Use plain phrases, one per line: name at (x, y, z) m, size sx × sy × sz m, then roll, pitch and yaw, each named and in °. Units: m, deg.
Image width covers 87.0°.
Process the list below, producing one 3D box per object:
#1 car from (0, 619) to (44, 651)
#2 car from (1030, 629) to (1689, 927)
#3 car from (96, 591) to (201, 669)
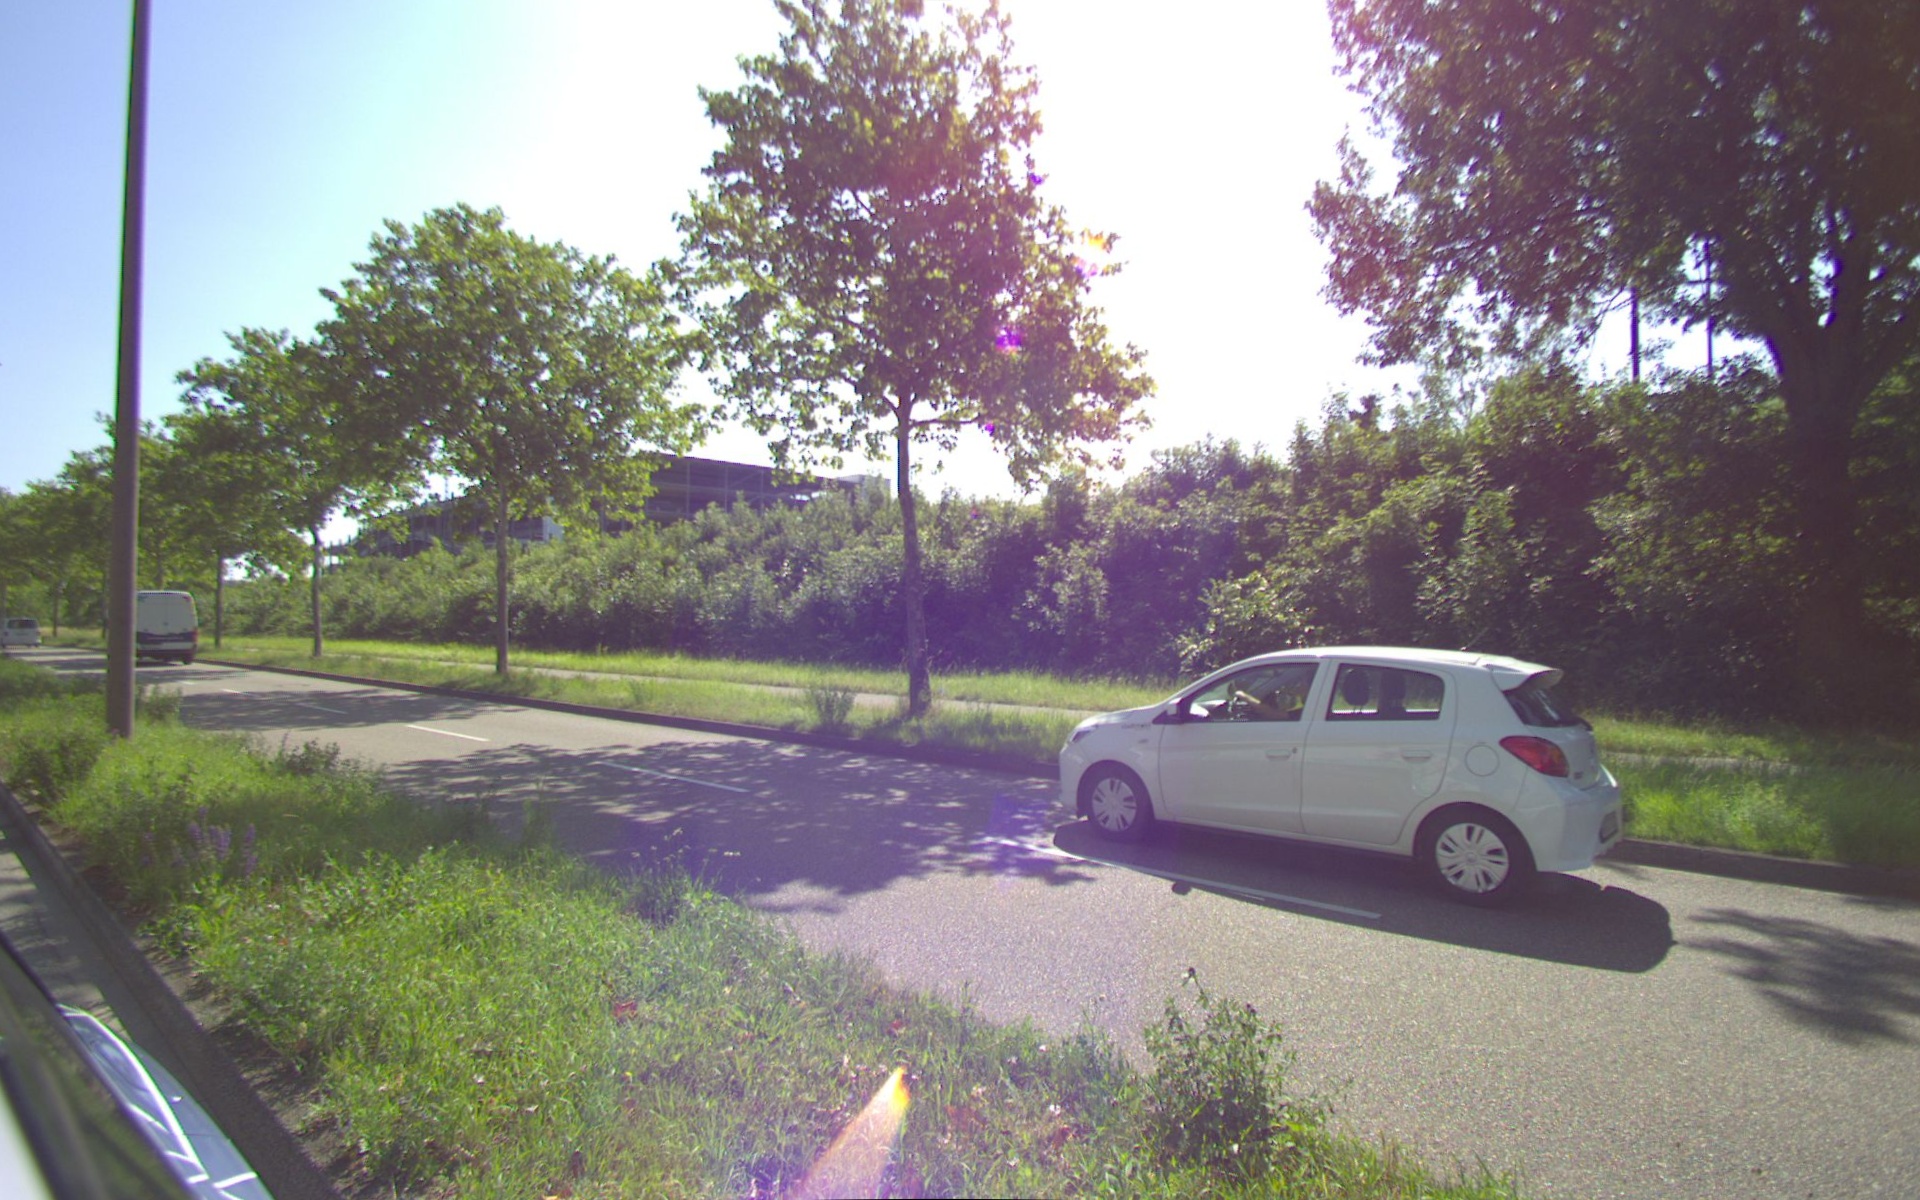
car at (-60.523, 2.234, 64.926) m, size 4.571 × 1.912 × 1.973 m, roll -1°, pitch -4°, yaw 41°
car at (2.589, 0.984, 7.145) m, size 3.998 × 1.519 × 1.682 m, roll -2°, pitch -3°, yaw 41°
car at (-30.182, 1.127, 37.549) m, size 5.783 × 2.683 × 1.973 m, roll -1°, pitch -3°, yaw 41°
